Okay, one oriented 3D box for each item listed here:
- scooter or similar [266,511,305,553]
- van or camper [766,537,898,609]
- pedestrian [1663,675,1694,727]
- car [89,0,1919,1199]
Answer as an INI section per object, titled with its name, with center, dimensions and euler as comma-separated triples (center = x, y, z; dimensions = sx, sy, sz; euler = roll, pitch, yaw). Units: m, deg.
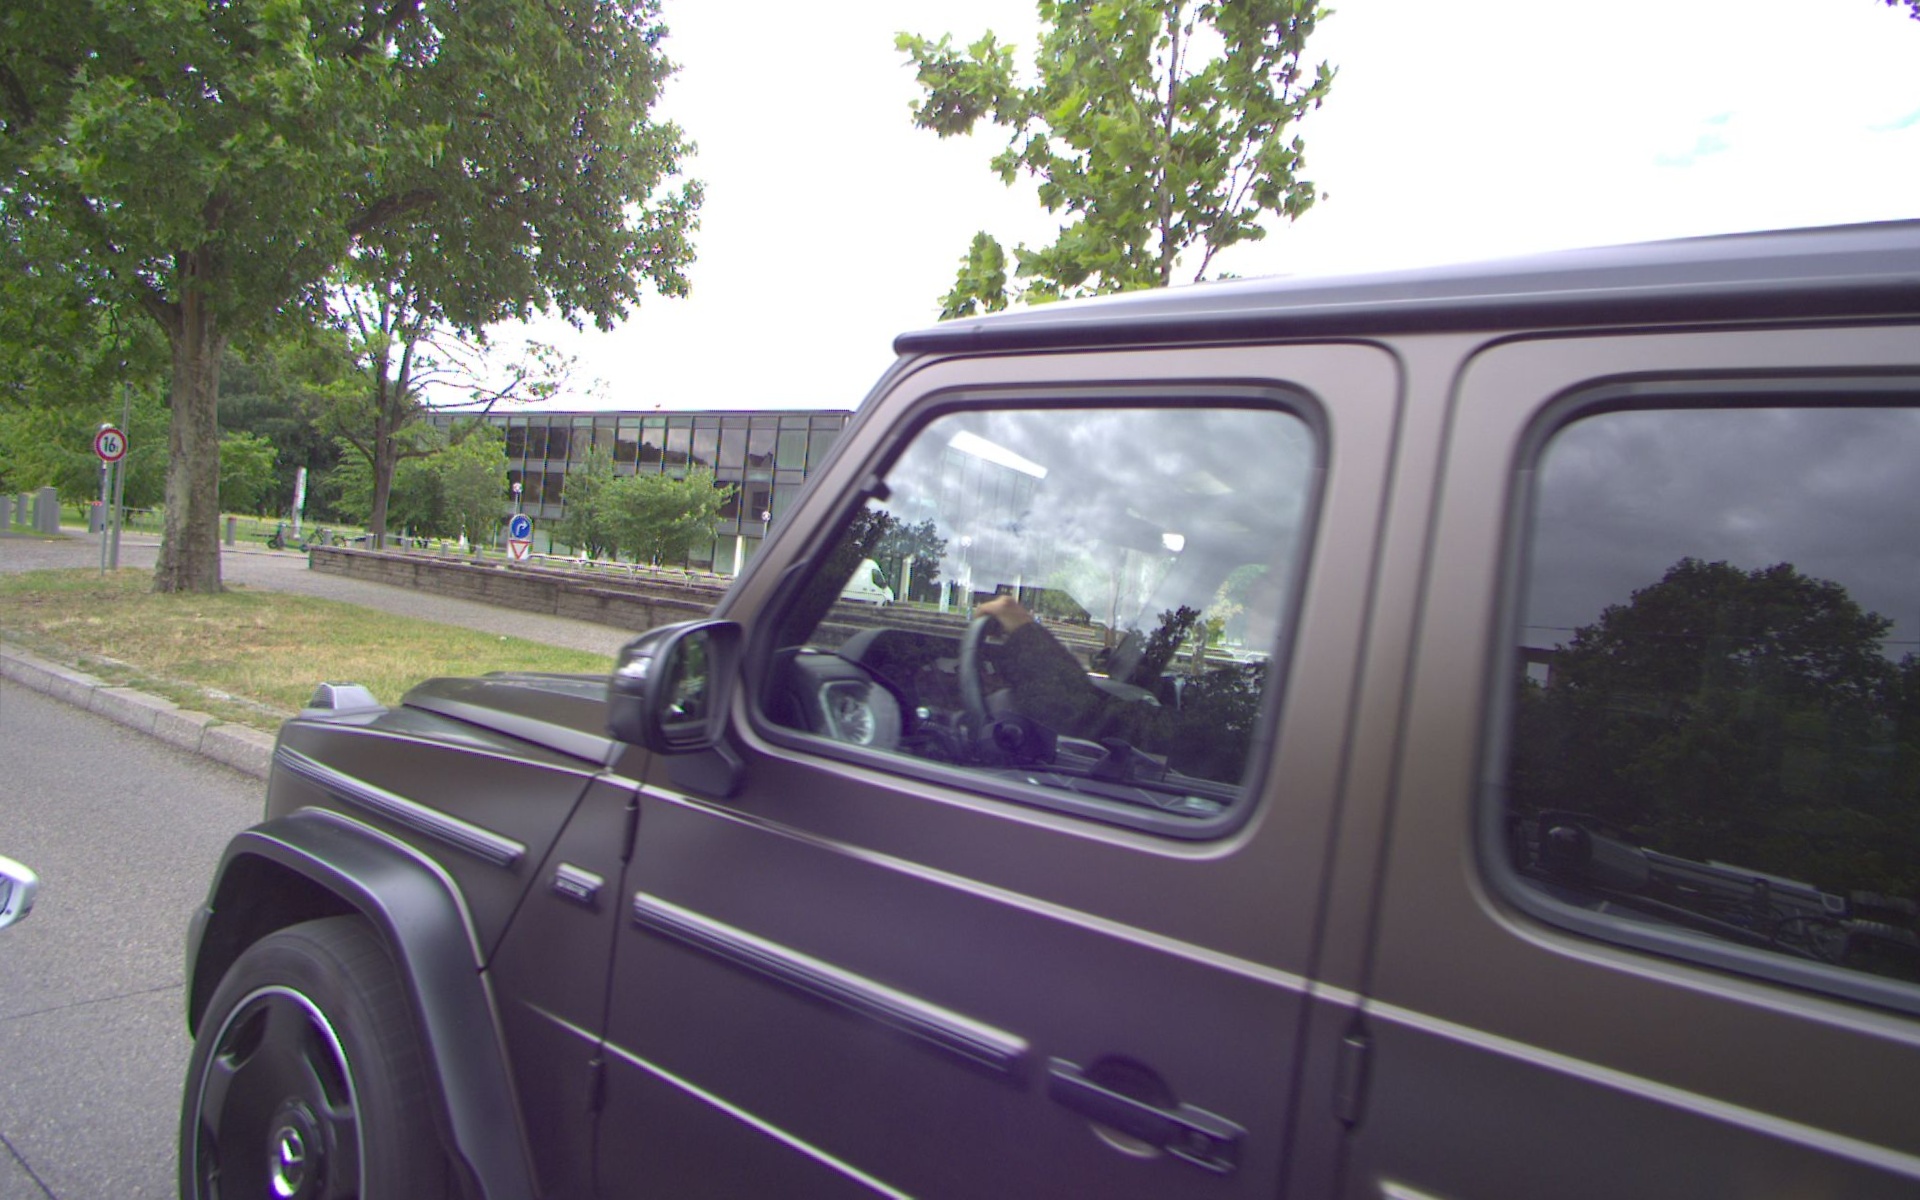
[scooter or similar]
center = -22.320, -2.243, 33.293
dimensions = 0.716, 1.261, 0.717
euler = 6, -2, 32
[van or camper]
center = -5.319, -1.088, 42.722
dimensions = 2.283, 2.347, 5.704
euler = 5, -2, 33
[pedestrian]
center = 29.745, 4.192, 41.658
dimensions = 0.802, 2.037, 0.857
euler = 5, -2, 31
[car]
center = 0.907, 0.590, 1.570
dimensions = 4.629, 1.915, 1.982
euler = 6, -2, 31
